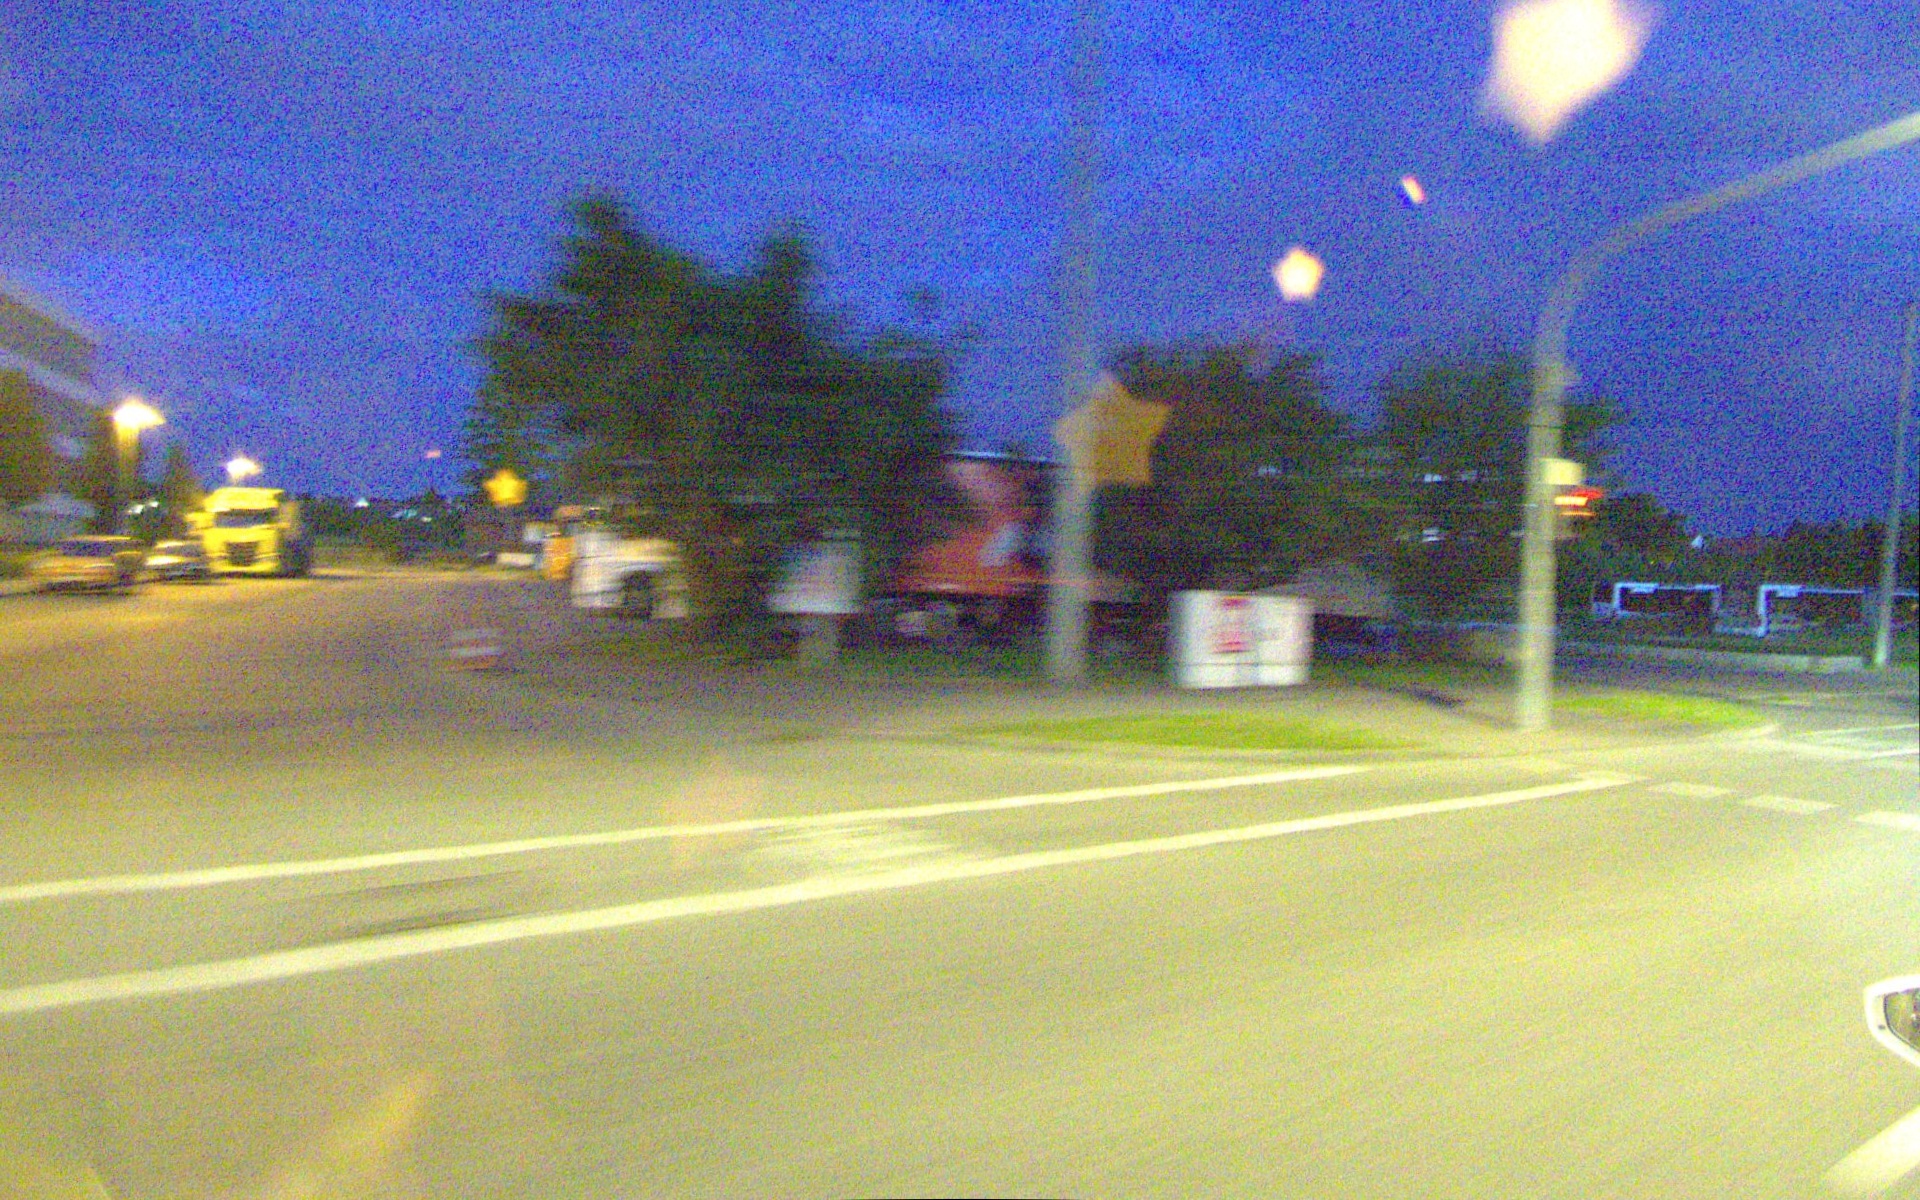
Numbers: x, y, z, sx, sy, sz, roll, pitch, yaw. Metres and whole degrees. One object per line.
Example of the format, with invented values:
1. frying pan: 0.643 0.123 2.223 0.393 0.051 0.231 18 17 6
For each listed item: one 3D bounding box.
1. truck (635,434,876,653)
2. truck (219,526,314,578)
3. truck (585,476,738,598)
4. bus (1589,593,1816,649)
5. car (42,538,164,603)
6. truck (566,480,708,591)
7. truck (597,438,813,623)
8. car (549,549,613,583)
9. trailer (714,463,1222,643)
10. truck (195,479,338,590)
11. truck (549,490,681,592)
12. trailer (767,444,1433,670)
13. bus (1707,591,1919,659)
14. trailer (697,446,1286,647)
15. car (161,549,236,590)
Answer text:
1. truck: -4.269 -1.106 20.979 4.427 3.985 3.059 2 2 -14
2. truck: -52.860 -3.696 76.471 9.544 3.667 3.353 4 2 39
3. truck: -11.938 -2.493 40.634 5.468 4.416 3.061 3 2 -11
4. bus: 46.842 1.273 63.601 12.032 3.023 2.953 2 1 1
5. car: -23.819 -0.857 28.067 1.869 1.573 3.967 2 2 -30
6. truck: -14.093 -2.785 44.307 5.468 4.416 3.061 3 2 -11
7. truck: -6.367 -1.710 25.803 4.844 4.204 3.064 3 2 -7
8. car: -24.345 -2.185 64.692 1.960 2.041 4.655 3 1 5
9. trailer: 0.285 -1.331 30.722 14.728 4.416 3.063 3 2 -8
10. truck: -33.789 -3.010 49.566 3.530 4.611 12.514 2 1 -25
11. truck: -16.496 -2.788 48.417 5.468 4.416 3.061 3 2 -11
12. trailer: 3.236 -0.781 22.819 14.748 3.985 3.059 3 2 -14
13. bus: 47.170 1.379 54.499 12.450 3.247 3.015 2 1 -12
14. trailer: 0.859 -1.298 26.669 14.724 4.204 3.064 3 2 -7
15. car: -28.175 -1.144 37.268 1.675 1.385 3.967 2 1 -30
